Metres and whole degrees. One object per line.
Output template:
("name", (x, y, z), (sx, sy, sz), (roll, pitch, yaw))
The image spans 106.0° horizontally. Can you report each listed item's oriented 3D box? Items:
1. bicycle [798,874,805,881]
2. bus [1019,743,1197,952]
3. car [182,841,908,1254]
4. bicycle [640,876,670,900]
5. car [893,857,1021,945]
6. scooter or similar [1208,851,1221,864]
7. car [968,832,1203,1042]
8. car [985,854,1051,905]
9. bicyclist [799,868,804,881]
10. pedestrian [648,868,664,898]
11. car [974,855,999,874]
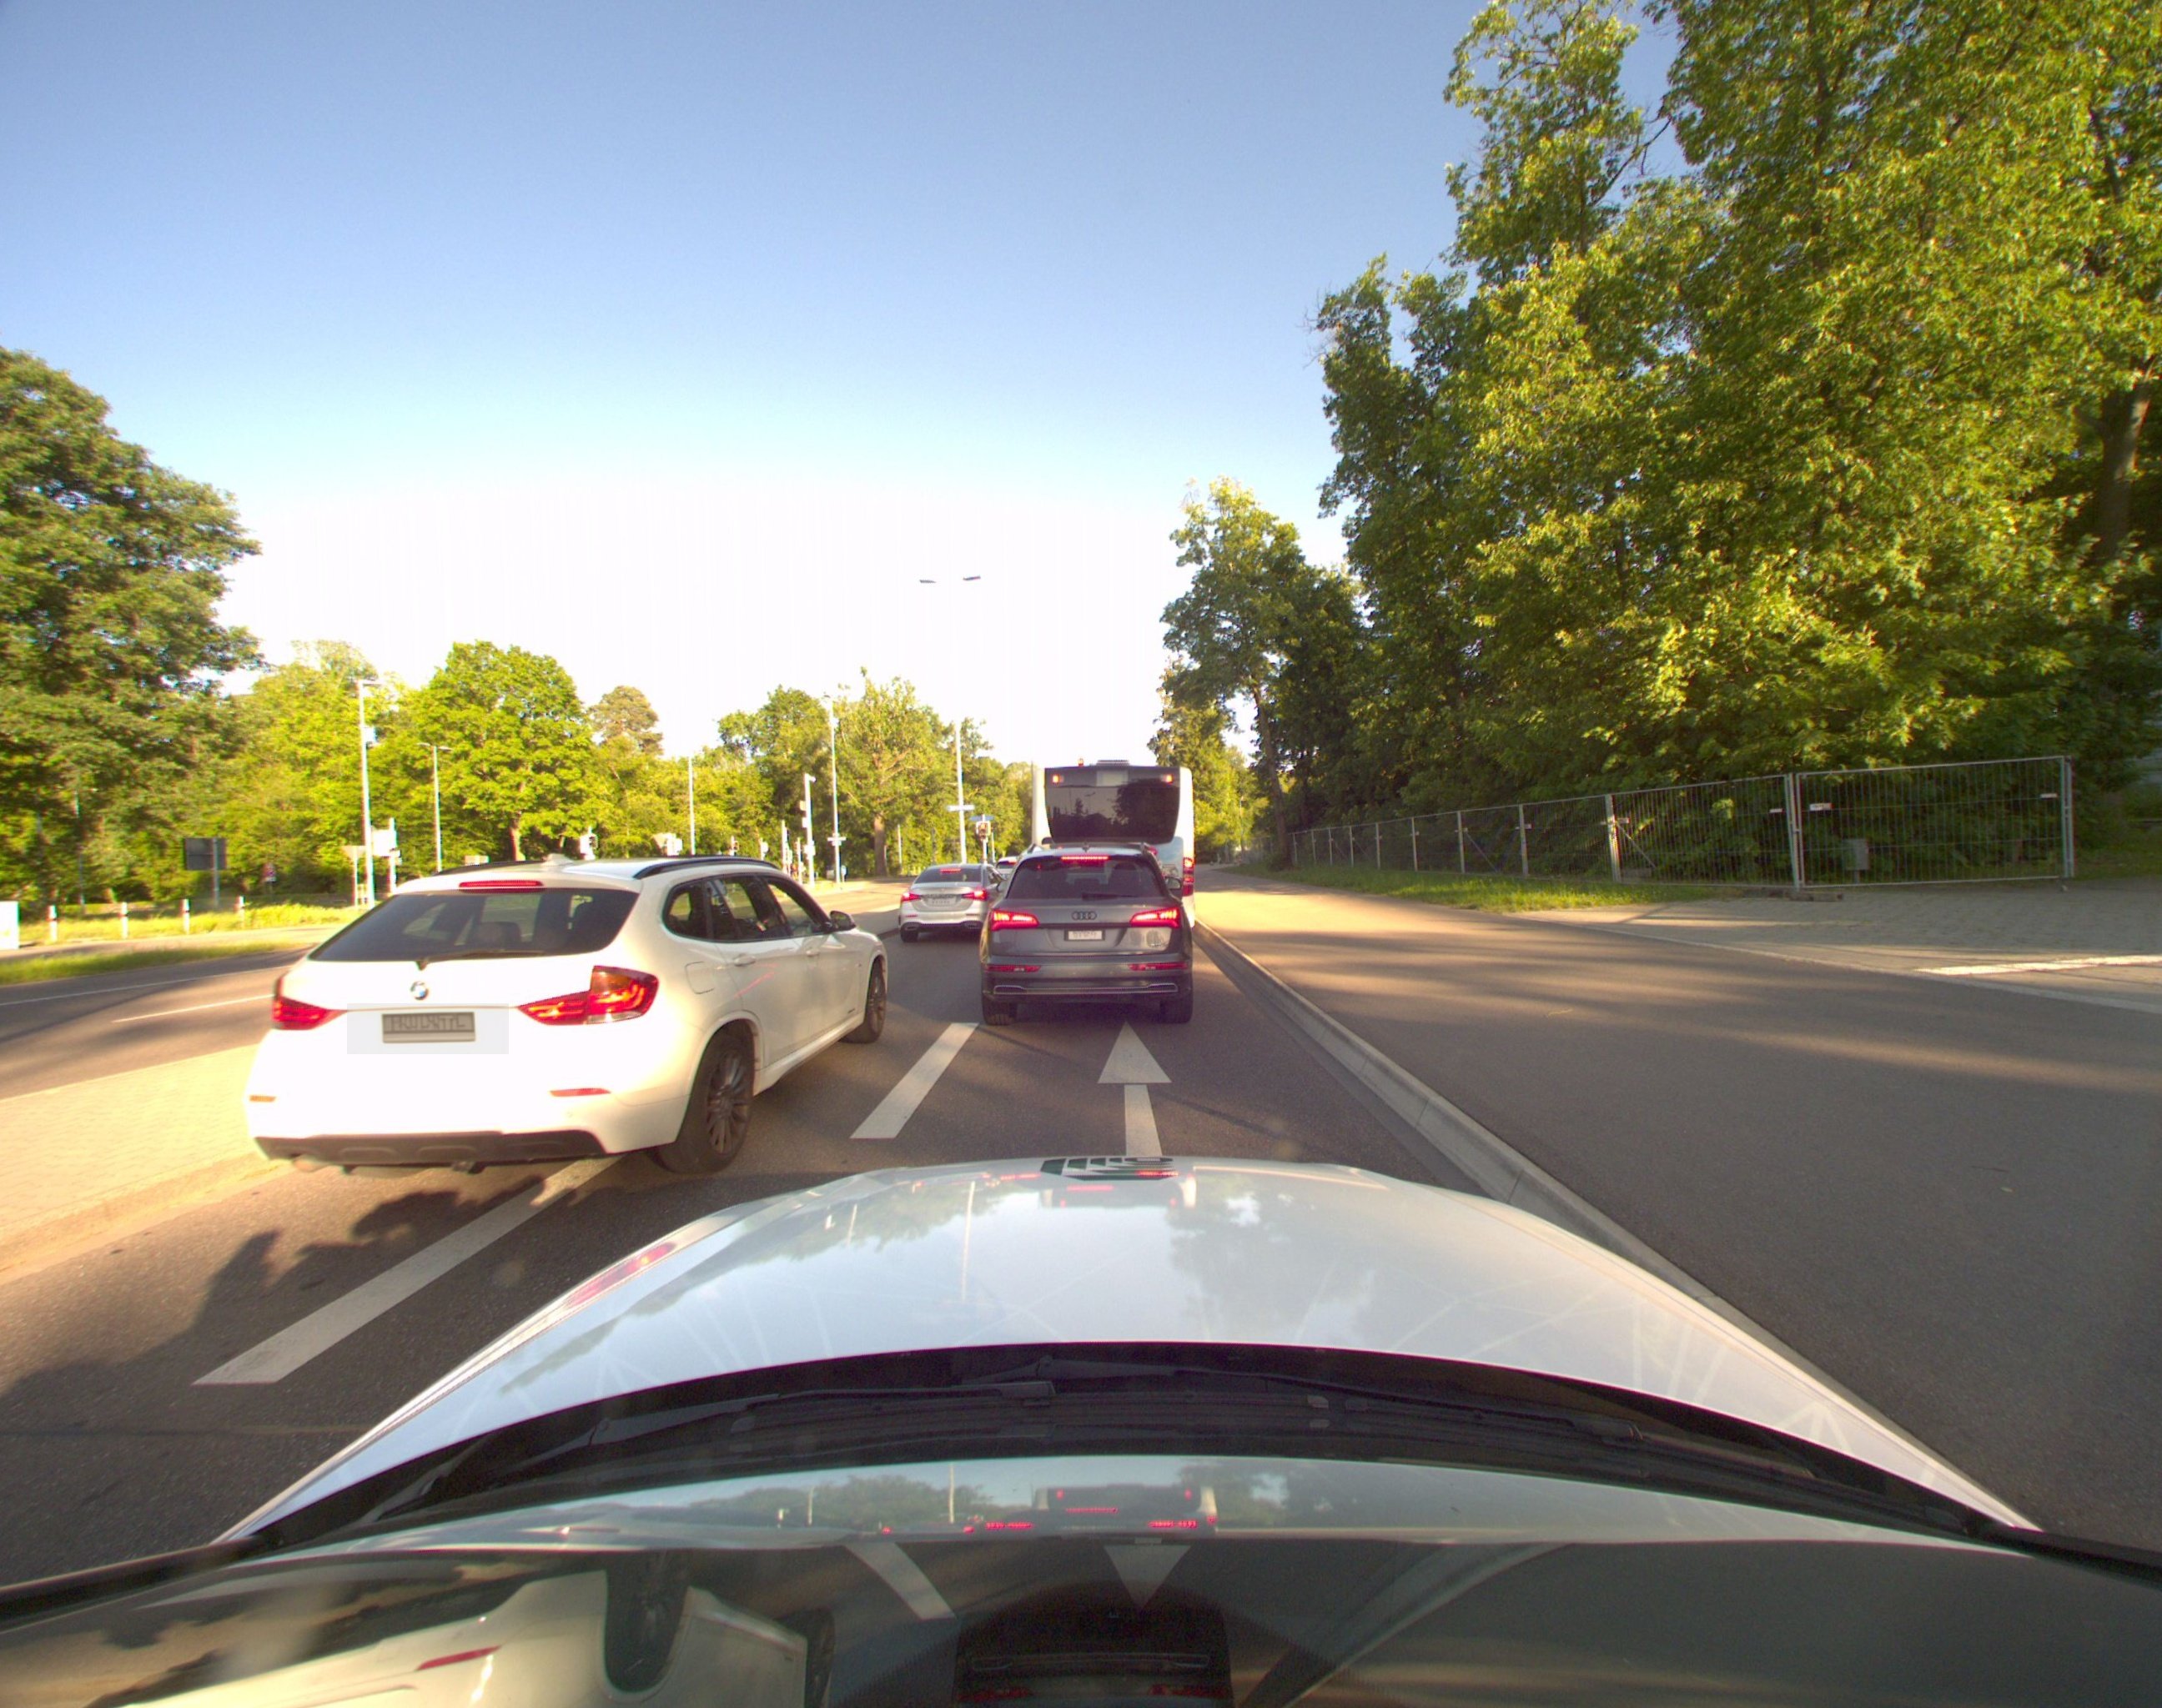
("bicycle", (-22.280, 1.885, 64.915), (0.266, 0.581, 0.838), (0, -1, -4))
("bus", (0.572, -0.115, 15.260), (2.667, 3.142, 5.887), (0, 0, 3))
("car", (-2.539, 0.732, 5.351), (1.712, 1.580, 4.436), (0, 0, 2))
("bicycle", (-22.698, 1.796, 43.398), (0.466, 1.178, 2.005), (0, -1, 2))
("car", (-2.284, 0.810, 16.105), (1.779, 1.444, 4.279), (0, 1, 1))
("scooter or similar", (12.799, 0.322, 77.822), (1.175, 1.174, 0.661), (0, 0, 13))
("car", (0.099, 0.641, 8.478), (1.861, 1.663, 4.002), (0, 1, 2))
("car", (-2.062, 0.803, 27.726), (1.801, 1.572, 4.002), (0, 1, 2))
("bicyclist", (-22.281, 1.627, 64.891), (0.272, 0.963, 0.240), (0, -1, -4))
("pedestrian", (-22.693, 1.557, 43.467), (0.480, 1.562, 0.649), (0, -1, 2))
("car", (-8.702, 0.942, 75.176), (1.990, 1.662, 3.995), (-3, 0, -4))
